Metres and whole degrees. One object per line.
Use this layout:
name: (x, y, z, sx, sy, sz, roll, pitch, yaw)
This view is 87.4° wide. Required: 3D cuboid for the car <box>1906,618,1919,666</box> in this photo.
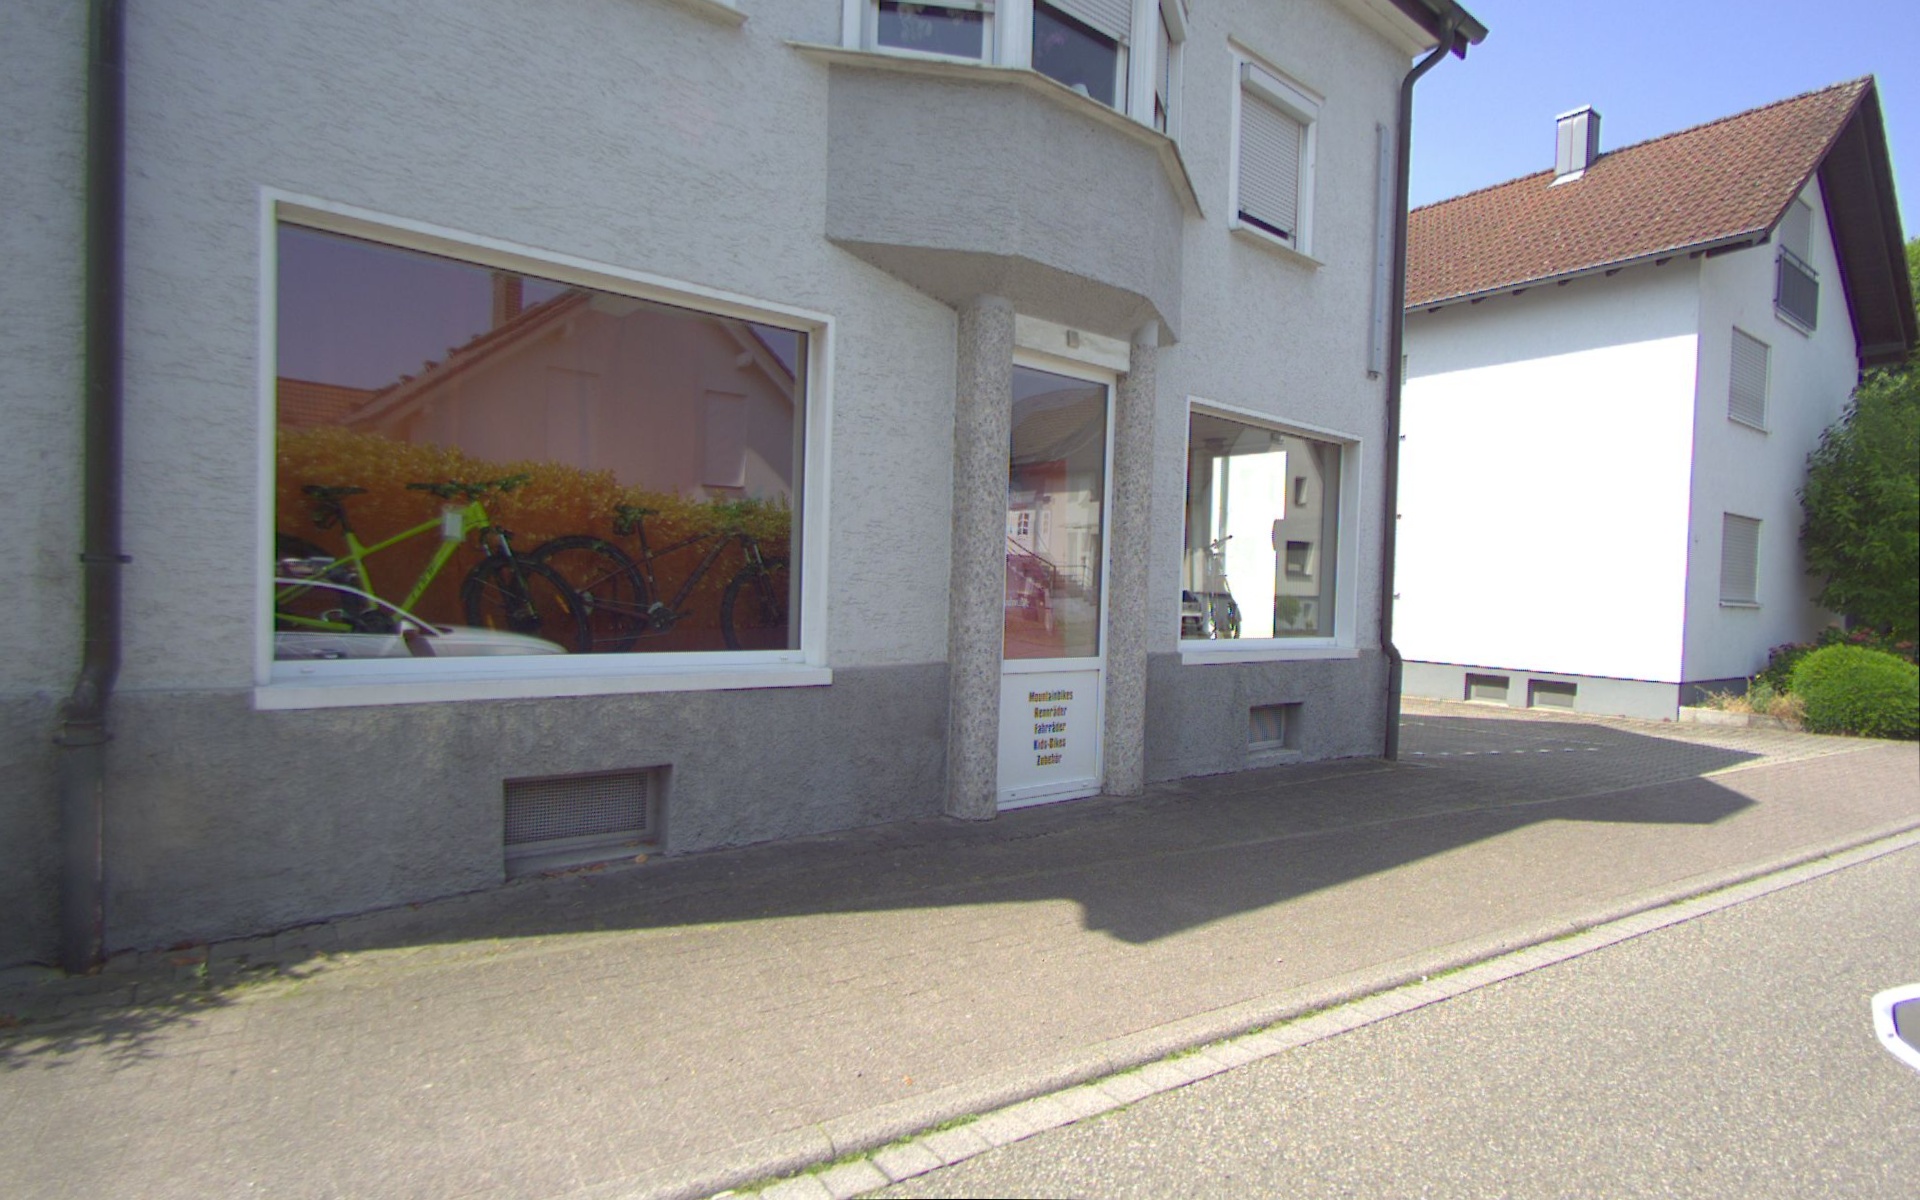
car: (33.371, 1.392, 32.259, 1.757, 1.559, 4.131, 1, -1, -36)
